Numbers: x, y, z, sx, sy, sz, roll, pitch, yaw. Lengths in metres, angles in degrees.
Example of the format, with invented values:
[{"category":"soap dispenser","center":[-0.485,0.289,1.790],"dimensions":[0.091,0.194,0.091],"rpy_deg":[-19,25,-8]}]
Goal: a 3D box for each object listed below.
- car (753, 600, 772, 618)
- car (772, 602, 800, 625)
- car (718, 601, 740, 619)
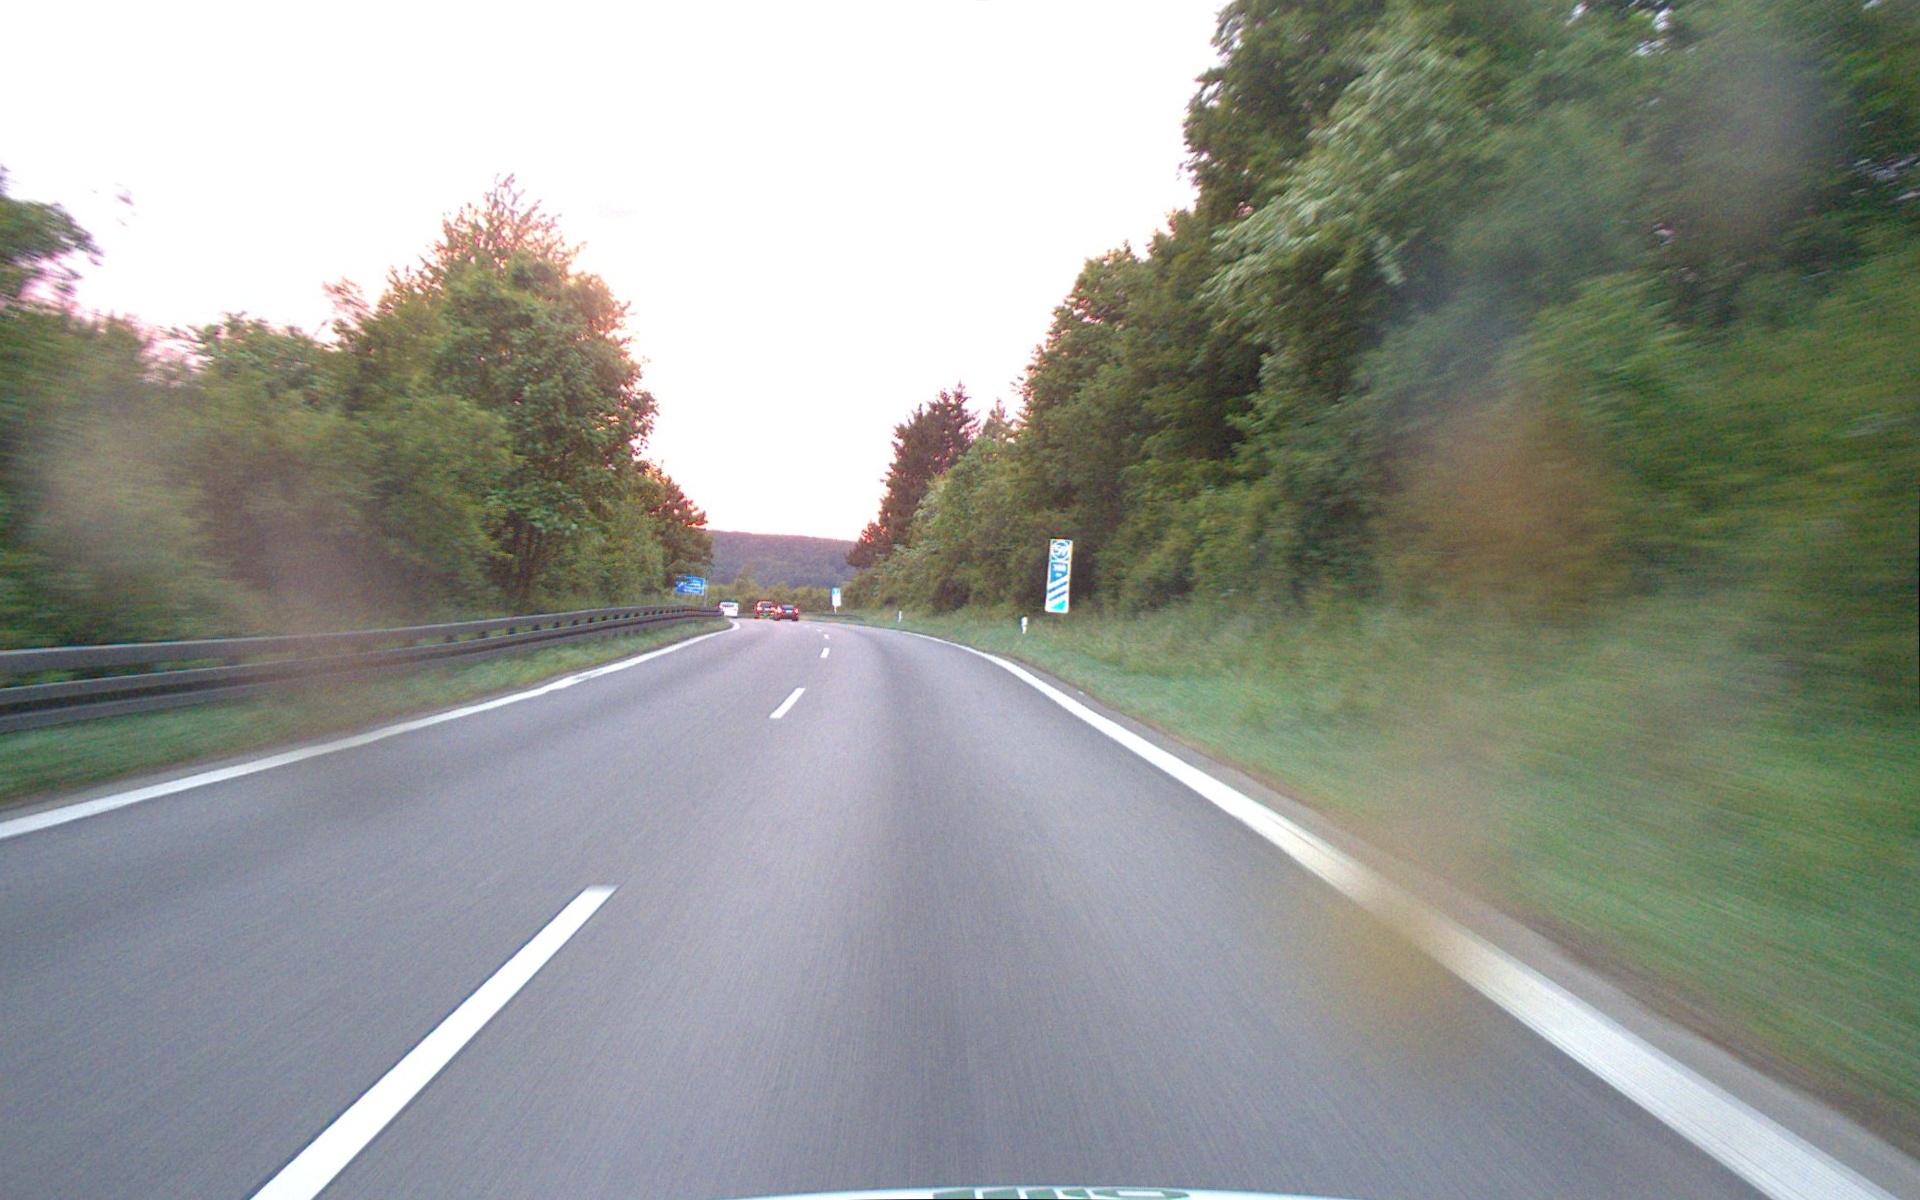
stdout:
[{"category":"car","center":[-19.408,0.906,162.604],"dimensions":[1.686,1.664,3.992],"rpy_deg":[0,-1,-8]},{"category":"car","center":[-14.904,1.151,141.740],"dimensions":[1.958,1.674,3.989],"rpy_deg":[5,-3,-11]},{"category":"car","center":[-21.882,0.921,156.779],"dimensions":[1.685,1.528,3.995],"rpy_deg":[2,-2,-5]}]
